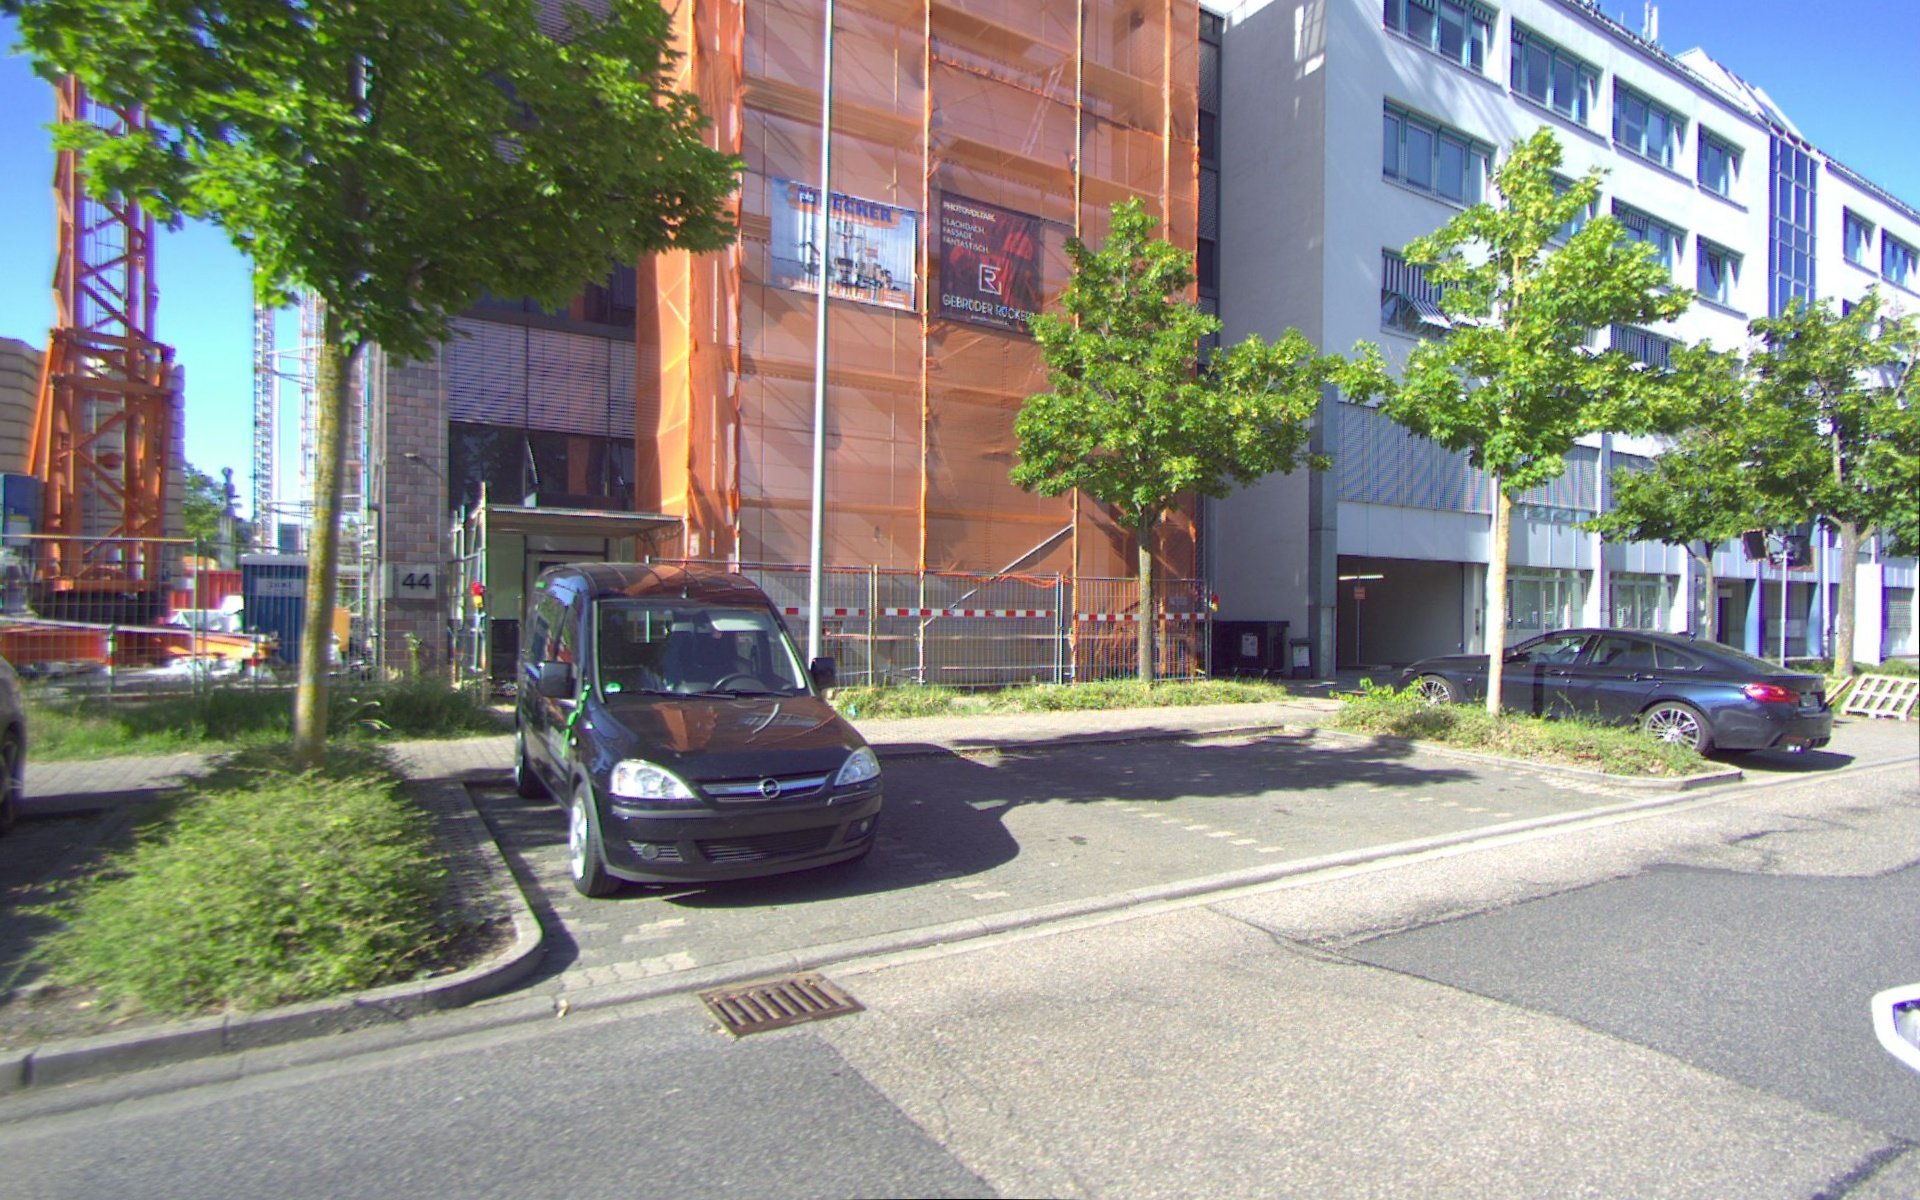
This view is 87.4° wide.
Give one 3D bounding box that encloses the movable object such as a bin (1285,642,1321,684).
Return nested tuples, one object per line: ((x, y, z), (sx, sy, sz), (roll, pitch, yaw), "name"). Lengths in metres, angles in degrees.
((7.723, 1.413, 22.632), (0.603, 0.939, 0.485), (1, -2, -28), "movable object such as a bin")

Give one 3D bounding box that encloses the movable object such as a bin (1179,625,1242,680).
((6.083, 1.264, 24.434), (0.902, 1.297, 1.231), (1, -2, -28), "movable object such as a bin")

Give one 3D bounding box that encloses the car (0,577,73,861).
((-5.608, 0.674, 4.442), (1.674, 1.534, 4.363), (1, 1, -30), "car")

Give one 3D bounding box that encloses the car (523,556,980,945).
((-1.770, 0.635, 6.919), (1.825, 1.769, 4.365), (1, 1, -29), "car")

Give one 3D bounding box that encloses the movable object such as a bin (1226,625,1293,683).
((6.942, 1.245, 23.310), (0.902, 1.297, 1.231), (1, -2, -28), "movable object such as a bin")

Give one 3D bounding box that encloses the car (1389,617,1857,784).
((7.840, 1.043, 12.315), (1.957, 1.451, 4.357), (1, 1, -34), "car")
